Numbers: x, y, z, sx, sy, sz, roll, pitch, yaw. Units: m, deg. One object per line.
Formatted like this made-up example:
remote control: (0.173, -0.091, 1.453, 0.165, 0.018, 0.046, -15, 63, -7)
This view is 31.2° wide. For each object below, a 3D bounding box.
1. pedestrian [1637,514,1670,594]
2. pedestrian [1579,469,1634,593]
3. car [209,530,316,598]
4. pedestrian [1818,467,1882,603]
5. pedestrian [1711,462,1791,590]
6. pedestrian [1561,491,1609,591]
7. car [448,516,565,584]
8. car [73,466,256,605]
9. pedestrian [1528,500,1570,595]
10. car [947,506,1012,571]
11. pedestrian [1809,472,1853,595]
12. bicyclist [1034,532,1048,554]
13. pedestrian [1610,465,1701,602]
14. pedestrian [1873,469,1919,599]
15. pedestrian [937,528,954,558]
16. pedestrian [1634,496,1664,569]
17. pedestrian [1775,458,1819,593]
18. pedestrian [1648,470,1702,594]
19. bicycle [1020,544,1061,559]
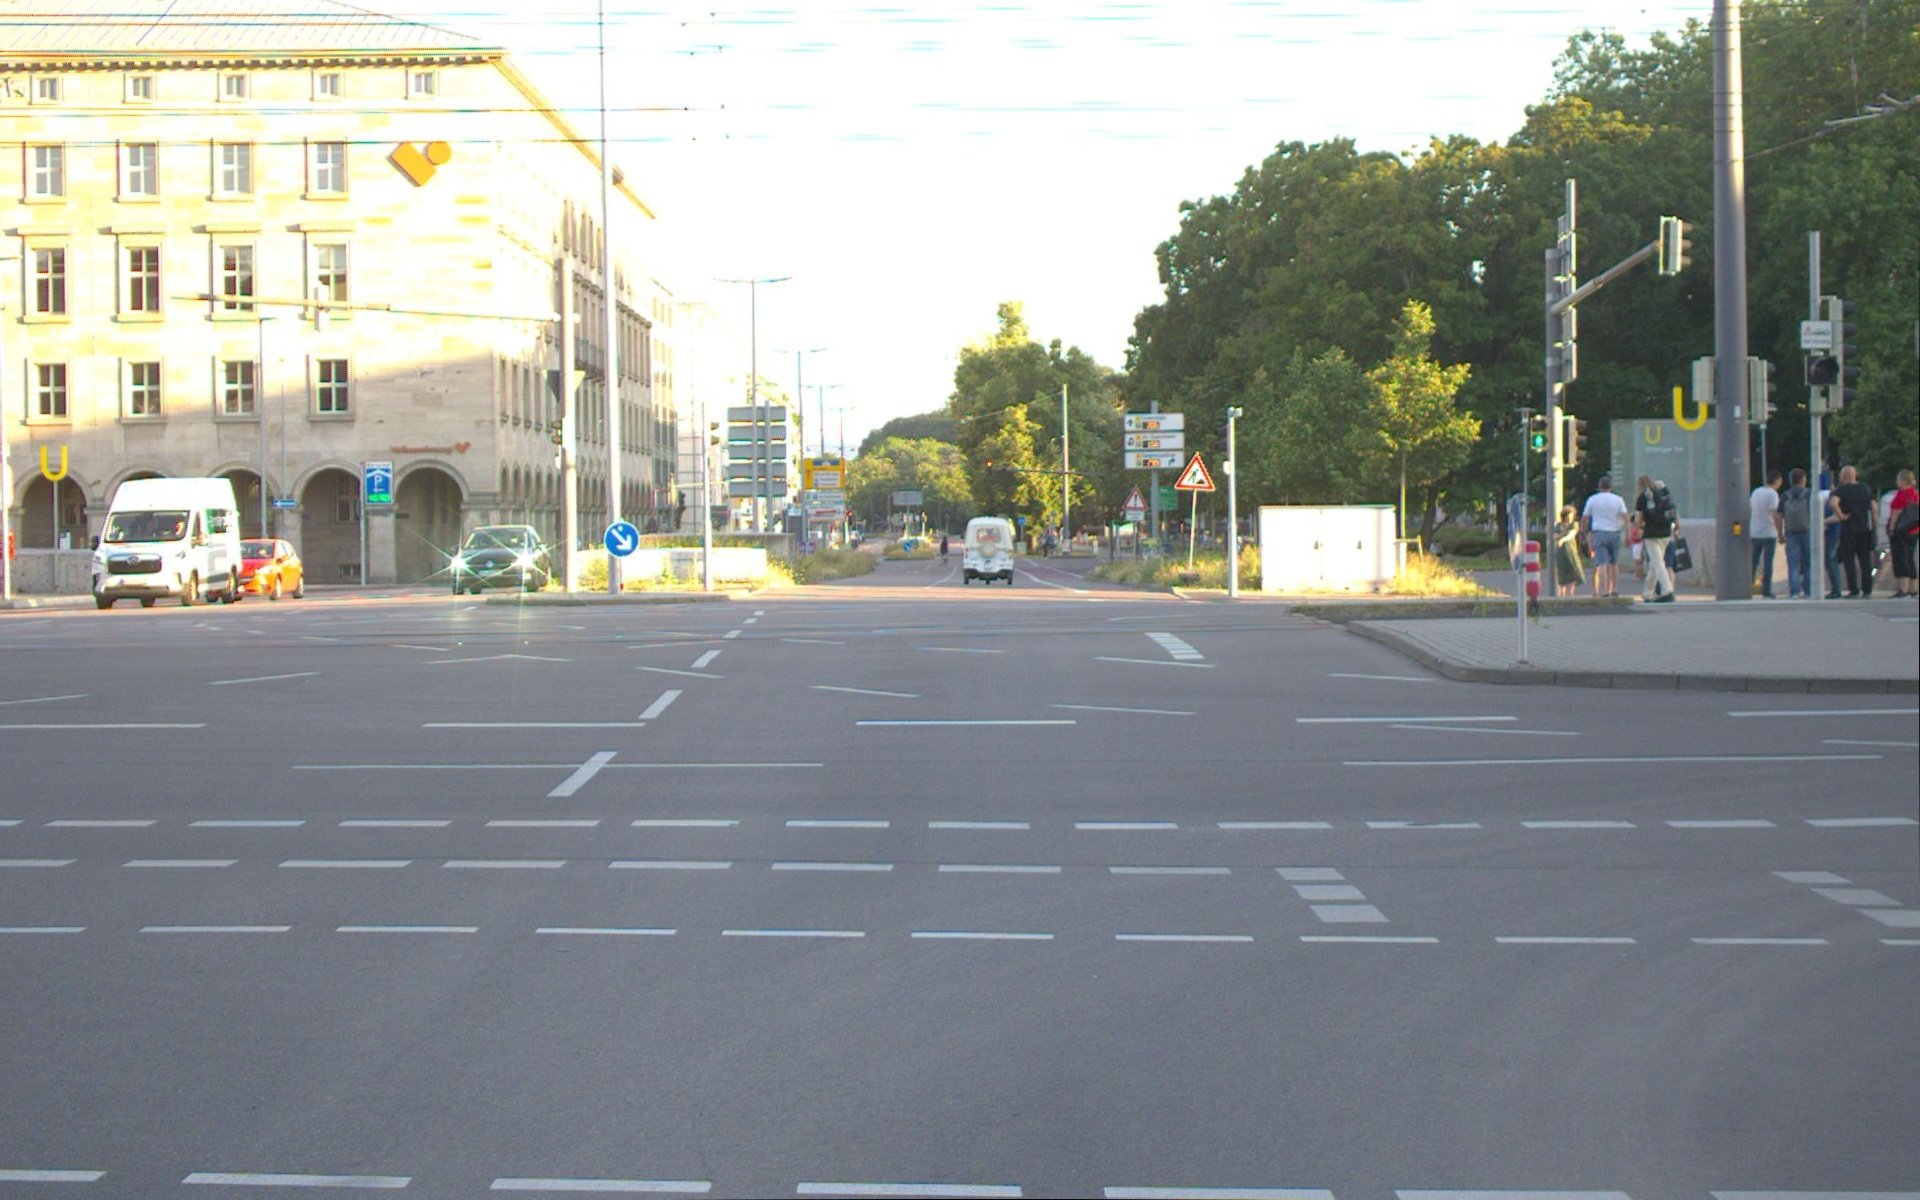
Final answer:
pedestrian: (12.501, -0.833, 61.992, 0.572, 1.433, 0.638, 0, 2, 11)
pedestrian: (9.027, -0.966, 47.998, 0.711, 1.719, 0.668, 0, 2, 14)
car: (-16.434, -0.872, 81.187, 1.738, 1.482, 4.001, -1, 2, -1)
pedestrian: (11.821, -0.866, 45.673, 0.805, 1.785, 0.800, 0, 2, 14)
pedestrian: (10.749, -1.007, 46.716, 0.912, 1.719, 0.713, -1, 2, 0)
pedestrian: (11.013, -1.046, 60.548, 0.680, 1.751, 0.901, 0, 2, 20)
car: (-9.555, -1.072, 72.632, 1.823, 1.337, 4.000, -1, 2, 2)
car: (-16.692, -1.381, 72.478, 2.279, 2.766, 6.084, -1, 2, 1)
pedestrian: (10.415, -0.933, 60.790, 0.560, 1.649, 0.901, 0, 2, 20)
car: (0.509, -1.640, 91.245, 1.483, 1.690, 2.974, -1, 2, -4)
pedestrian: (11.942, -0.920, 47.126, 0.572, 1.673, 0.638, 0, 2, 14)
bicyclist: (5.287, -3.722, 225.013, 0.830, 1.458, 0.661, -1, 2, -8)
pedestrian: (8.853, -0.848, 43.779, 0.914, 1.719, 0.711, 1, 2, 38)
pedestrian: (12.673, -0.887, 46.008, 0.845, 1.728, 0.705, 0, 2, 12)
pedestrian: (-0.799, -3.258, 194.788, 0.906, 1.665, 1.307, -1, 2, -1)
pedestrian: (17.419, -1.708, 86.944, 0.666, 1.836, 0.713, -1, 2, 5)
pedestrian: (11.157, -0.992, 45.829, 0.572, 1.785, 0.638, 0, 2, 14)
pedestrian: (9.975, -0.952, 47.930, 0.711, 1.719, 0.668, 0, 2, 13)
bicycle: (5.267, -3.183, 224.999, 2.601, 0.955, 0.515, 1, 0, -8)
